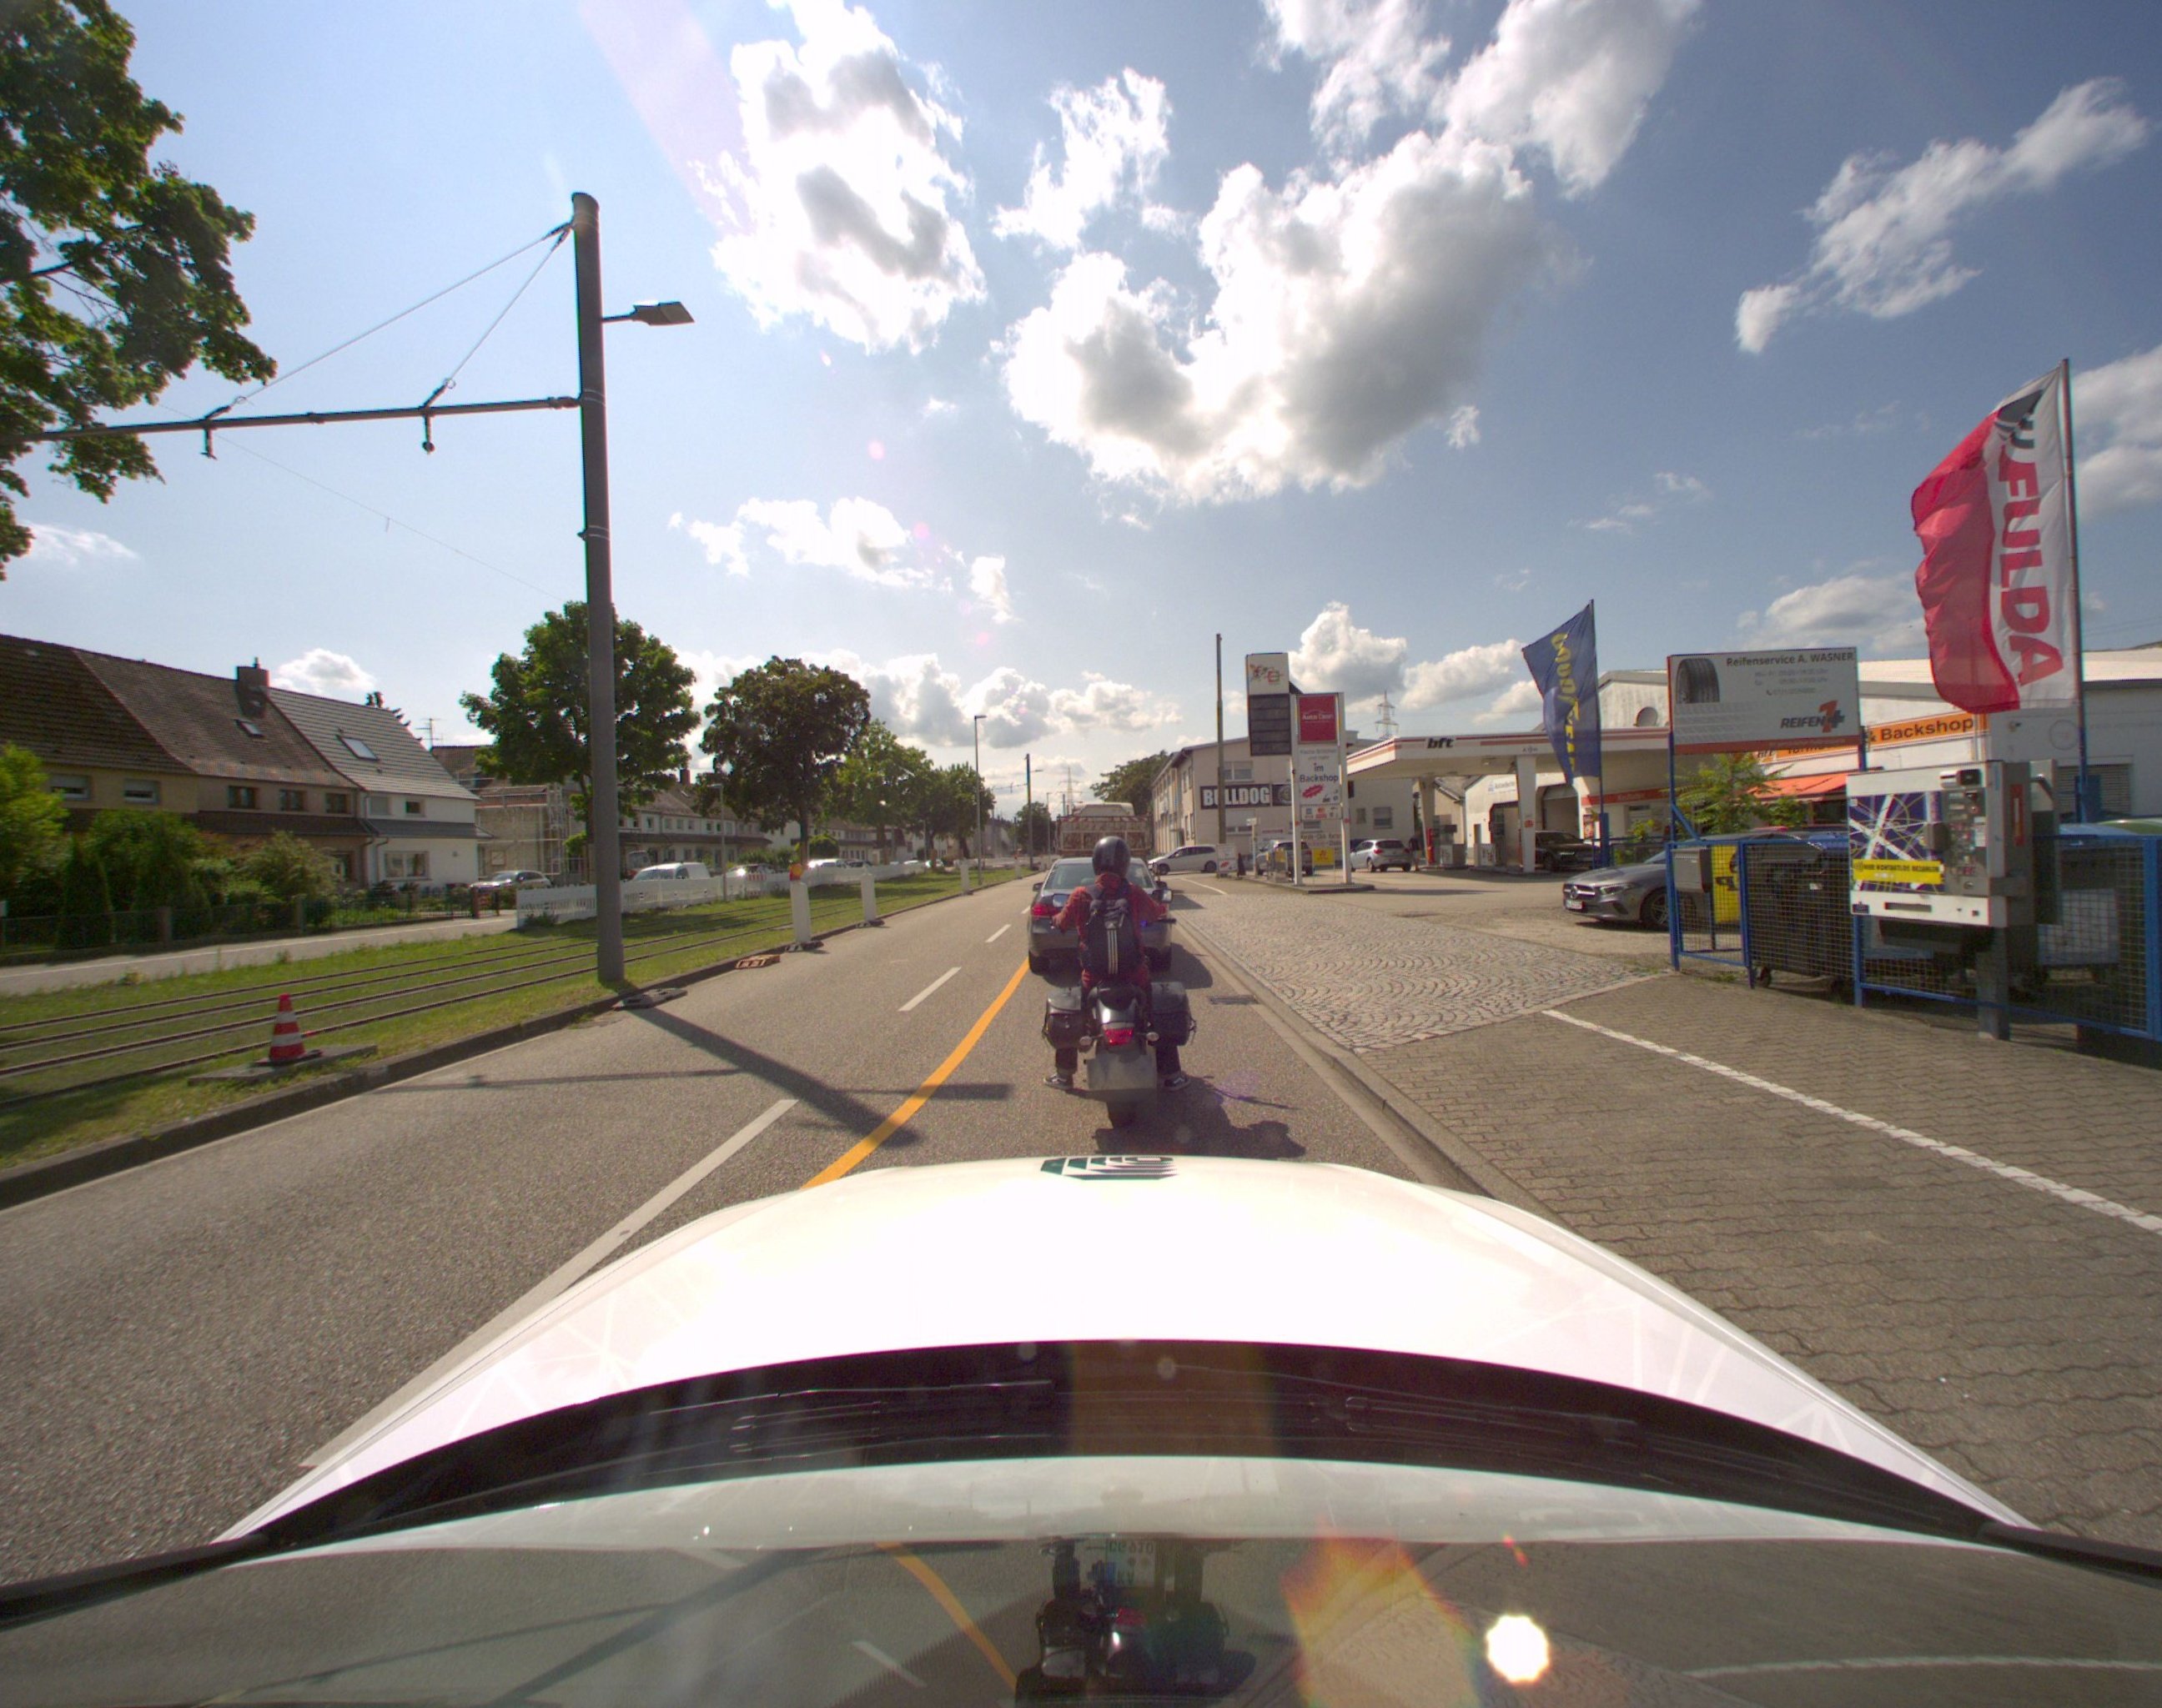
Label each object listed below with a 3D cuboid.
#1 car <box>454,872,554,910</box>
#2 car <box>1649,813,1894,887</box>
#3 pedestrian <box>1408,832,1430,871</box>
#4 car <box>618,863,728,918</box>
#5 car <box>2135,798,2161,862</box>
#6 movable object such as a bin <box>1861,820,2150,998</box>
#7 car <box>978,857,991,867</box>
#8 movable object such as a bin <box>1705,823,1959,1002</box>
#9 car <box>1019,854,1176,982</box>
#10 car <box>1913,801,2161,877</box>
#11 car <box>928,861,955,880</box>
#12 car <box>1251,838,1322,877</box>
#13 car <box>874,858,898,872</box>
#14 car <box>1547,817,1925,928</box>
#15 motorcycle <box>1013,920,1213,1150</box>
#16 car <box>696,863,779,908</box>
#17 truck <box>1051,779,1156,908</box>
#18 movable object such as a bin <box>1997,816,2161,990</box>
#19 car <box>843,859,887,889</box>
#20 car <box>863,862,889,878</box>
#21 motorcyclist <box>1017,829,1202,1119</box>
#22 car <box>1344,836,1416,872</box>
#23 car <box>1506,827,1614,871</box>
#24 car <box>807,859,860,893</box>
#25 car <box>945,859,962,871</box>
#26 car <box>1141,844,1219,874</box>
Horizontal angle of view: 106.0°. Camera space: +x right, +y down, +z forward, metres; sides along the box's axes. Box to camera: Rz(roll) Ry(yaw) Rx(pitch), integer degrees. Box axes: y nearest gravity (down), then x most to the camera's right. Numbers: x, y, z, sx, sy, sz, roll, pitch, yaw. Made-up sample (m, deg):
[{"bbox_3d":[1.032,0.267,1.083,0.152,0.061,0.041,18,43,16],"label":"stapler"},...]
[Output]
[{"bbox_3d":[-27.439,1.727,38.891,1.769,1.519,4.002,-2,0,2],"label":"car"},{"bbox_3d":[15.772,-0.086,18.755,4.180,1.463,1.587,-2,0,2],"label":"car"},{"bbox_3d":[14.650,-0.128,35.316,0.701,1.656,0.551,-2,0,37],"label":"pedestrian"},{"bbox_3d":[-15.467,1.318,31.153,1.769,1.821,4.366,-2,0,2],"label":"car"},{"bbox_3d":[26.498,-0.632,18.001,4.180,1.463,1.587,-2,0,2],"label":"car"},{"bbox_3d":[8.082,0.445,7.216,1.104,1.396,1.244,-2,0,1],"label":"movable object such as a bin"},{"bbox_3d":[-19.100,1.542,161.351,1.769,1.722,4.252,-2,0,2],"label":"car"},{"bbox_3d":[6.688,0.479,7.356,1.104,1.436,1.244,-2,0,1],"label":"movable object such as a bin"},{"bbox_3d":[0.257,0.742,11.444,1.816,1.452,4.002,0,0,2],"label":"car"},{"bbox_3d":[21.521,-0.338,18.163,4.180,1.463,1.587,-2,0,2],"label":"car"},{"bbox_3d":[-13.731,1.637,80.452,1.769,1.722,4.130,-2,0,2],"label":"car"},{"bbox_3d":[9.114,0.154,36.451,1.665,1.562,4.235,-2,0,-6],"label":"car"},{"bbox_3d":[-25.163,1.408,105.200,1.769,1.722,4.130,-2,0,2],"label":"car"},{"bbox_3d":[9.776,0.271,12.468,4.250,1.415,1.677,-3,0,7],"label":"car"},{"bbox_3d":[0.203,1.025,5.442,0.975,0.897,2.654,-2,0,2],"label":"motorcycle"},{"bbox_3d":[-15.411,1.352,36.796,1.769,1.774,4.230,-2,0,2],"label":"car"},{"bbox_3d":[0.726,-0.286,25.498,2.628,3.296,8.059,-2,0,2],"label":"truck"},{"bbox_3d":[9.485,0.375,7.128,1.397,1.396,1.338,-2,0,1],"label":"movable object such as a bin"},{"bbox_3d":[-14.807,1.339,56.036,1.769,1.805,4.130,-2,0,2],"label":"car"},{"bbox_3d":[-24.392,1.845,97.039,1.769,1.722,4.130,-2,0,2],"label":"car"},{"bbox_3d":[0.178,0.676,5.138,0.975,1.602,1.088,-2,0,1],"label":"motorcyclist"},{"bbox_3d":[13.475,-0.004,36.917,1.800,1.503,3.832,-2,0,-1],"label":"car"},{"bbox_3d":[17.951,-0.179,30.723,1.800,1.503,3.833,-2,0,0],"label":"car"},{"bbox_3d":[-15.066,1.330,49.858,1.769,1.867,4.130,-2,0,2],"label":"car"},{"bbox_3d":[-19.637,1.644,125.914,1.769,1.722,4.130,-2,0,2],"label":"car"},{"bbox_3d":[5.695,0.295,47.082,4.225,1.543,1.669,-2,0,-7],"label":"car"}]
